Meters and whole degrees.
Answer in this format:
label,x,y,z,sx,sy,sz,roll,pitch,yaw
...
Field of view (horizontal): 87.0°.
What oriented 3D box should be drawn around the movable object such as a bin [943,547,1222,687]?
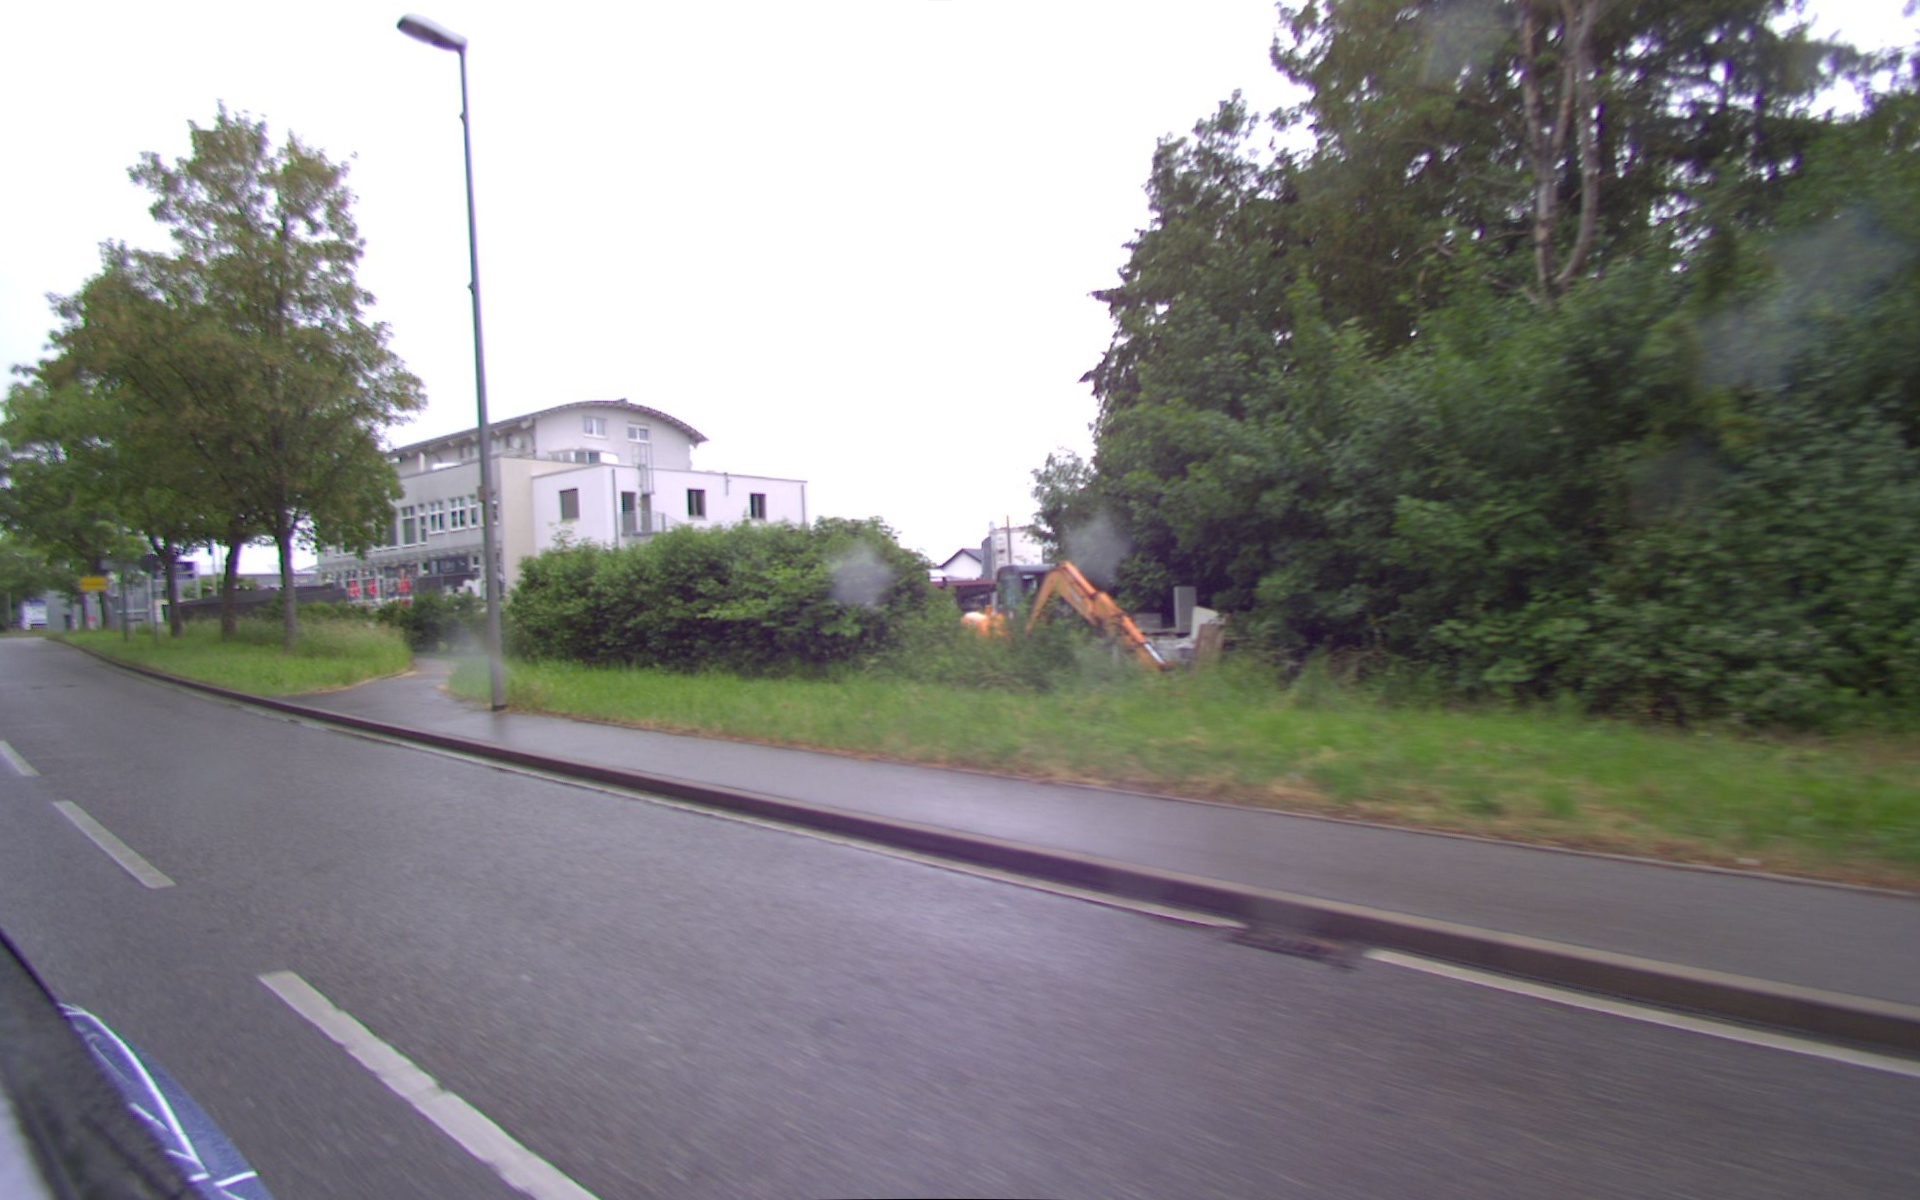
label,x,y,z,sx,sy,sz,roll,pitch,yaw
movable object such as a bin,1.681,0.270,17.954,1.821,1.922,7.931,-1,0,-17
